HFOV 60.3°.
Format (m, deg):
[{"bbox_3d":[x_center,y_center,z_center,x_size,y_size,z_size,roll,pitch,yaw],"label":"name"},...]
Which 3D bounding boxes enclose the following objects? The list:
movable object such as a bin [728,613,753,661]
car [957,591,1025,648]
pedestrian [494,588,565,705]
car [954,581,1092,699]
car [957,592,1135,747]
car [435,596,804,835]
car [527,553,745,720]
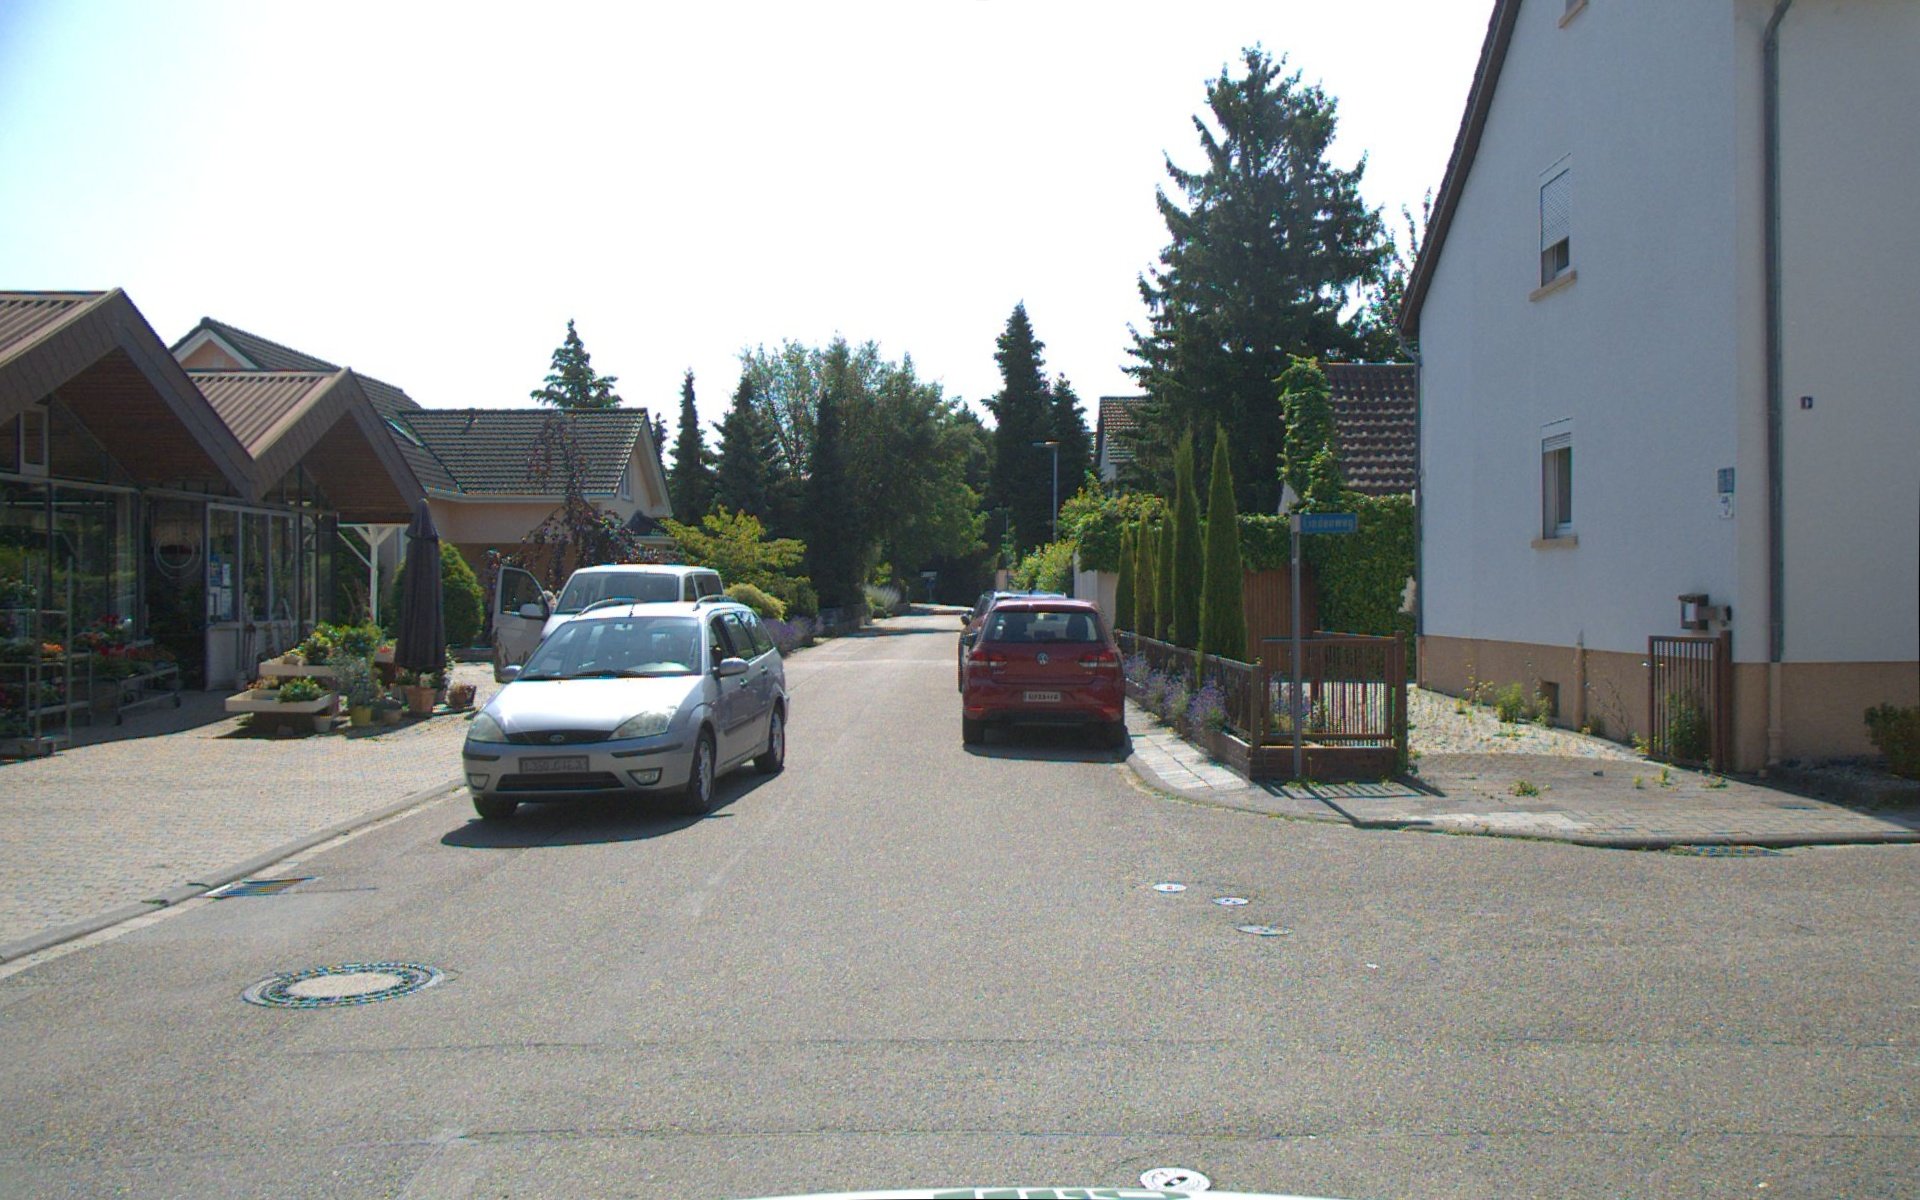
[{"bbox_3d":[-4.835,0.820,36.427,0.484,1.042,0.447,-1,0,0],"label":"movable object such as a bin"},{"bbox_3d":[0.783,0.480,43.882,1.668,1.424,3.999,0,0,-1],"label":"car"},{"bbox_3d":[-5.905,0.620,22.695,0.704,1.565,0.640,0,1,33],"label":"pedestrian"},{"bbox_3d":[0.877,0.557,25.281,1.786,1.643,3.998,0,0,-2],"label":"car"},{"bbox_3d":[0.979,0.691,18.532,1.738,1.505,4.002,1,0,3],"label":"car"},{"bbox_3d":[-2.481,0.765,13.202,1.716,1.513,4.378,-2,0,4],"label":"car"},{"bbox_3d":[-4.314,0.449,22.832,1.889,2.049,4.897,0,0,2],"label":"car"}]
